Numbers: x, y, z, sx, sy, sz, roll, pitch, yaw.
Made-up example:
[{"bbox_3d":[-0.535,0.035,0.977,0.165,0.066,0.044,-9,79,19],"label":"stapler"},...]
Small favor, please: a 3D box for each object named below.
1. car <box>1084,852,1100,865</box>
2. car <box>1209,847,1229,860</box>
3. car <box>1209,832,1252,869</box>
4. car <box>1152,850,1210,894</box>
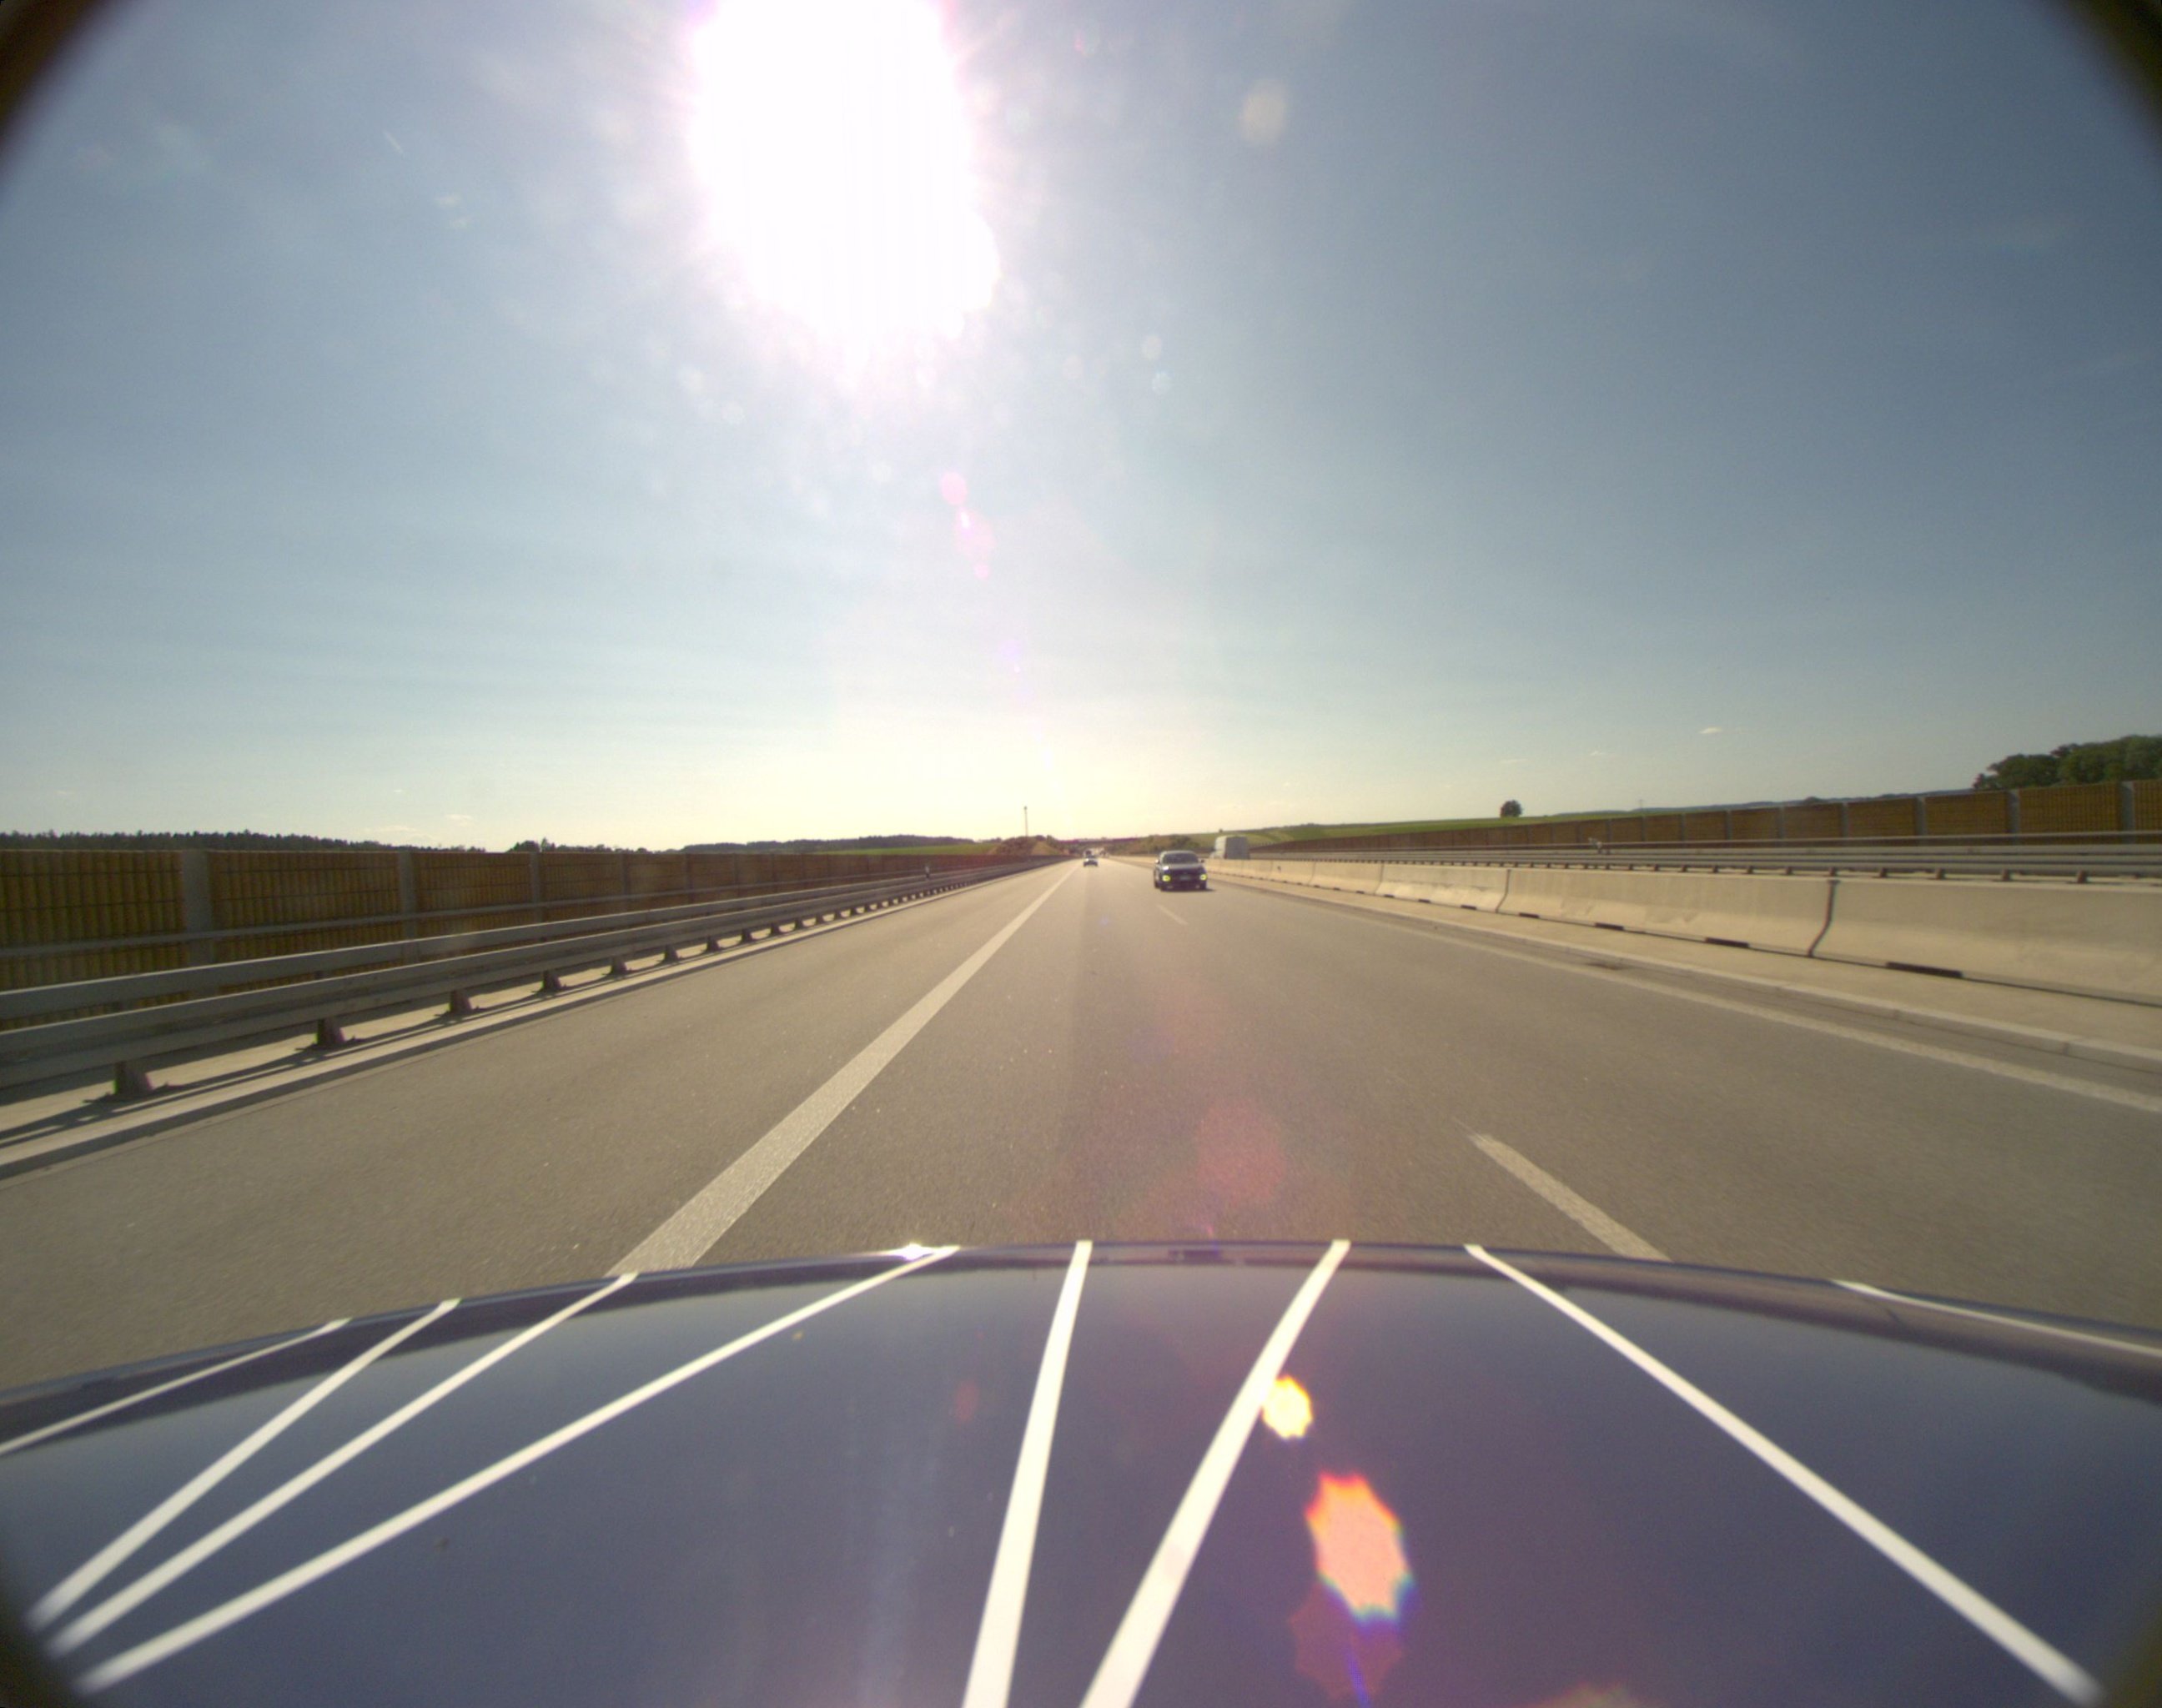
[{"bbox_3d":[1.382,0.546,95.751,1.909,1.449,4.376,-2,0,2],"label":"car"},{"bbox_3d":[16.494,-0.076,91.242,1.651,1.500,4.332,-2,0,1],"label":"car"},{"bbox_3d":[11.776,-0.266,60.159,2.028,2.654,6.486,-2,0,0],"label":"car"},{"bbox_3d":[3.988,0.672,31.107,1.776,1.560,4.988,-2,0,1],"label":"car"}]
